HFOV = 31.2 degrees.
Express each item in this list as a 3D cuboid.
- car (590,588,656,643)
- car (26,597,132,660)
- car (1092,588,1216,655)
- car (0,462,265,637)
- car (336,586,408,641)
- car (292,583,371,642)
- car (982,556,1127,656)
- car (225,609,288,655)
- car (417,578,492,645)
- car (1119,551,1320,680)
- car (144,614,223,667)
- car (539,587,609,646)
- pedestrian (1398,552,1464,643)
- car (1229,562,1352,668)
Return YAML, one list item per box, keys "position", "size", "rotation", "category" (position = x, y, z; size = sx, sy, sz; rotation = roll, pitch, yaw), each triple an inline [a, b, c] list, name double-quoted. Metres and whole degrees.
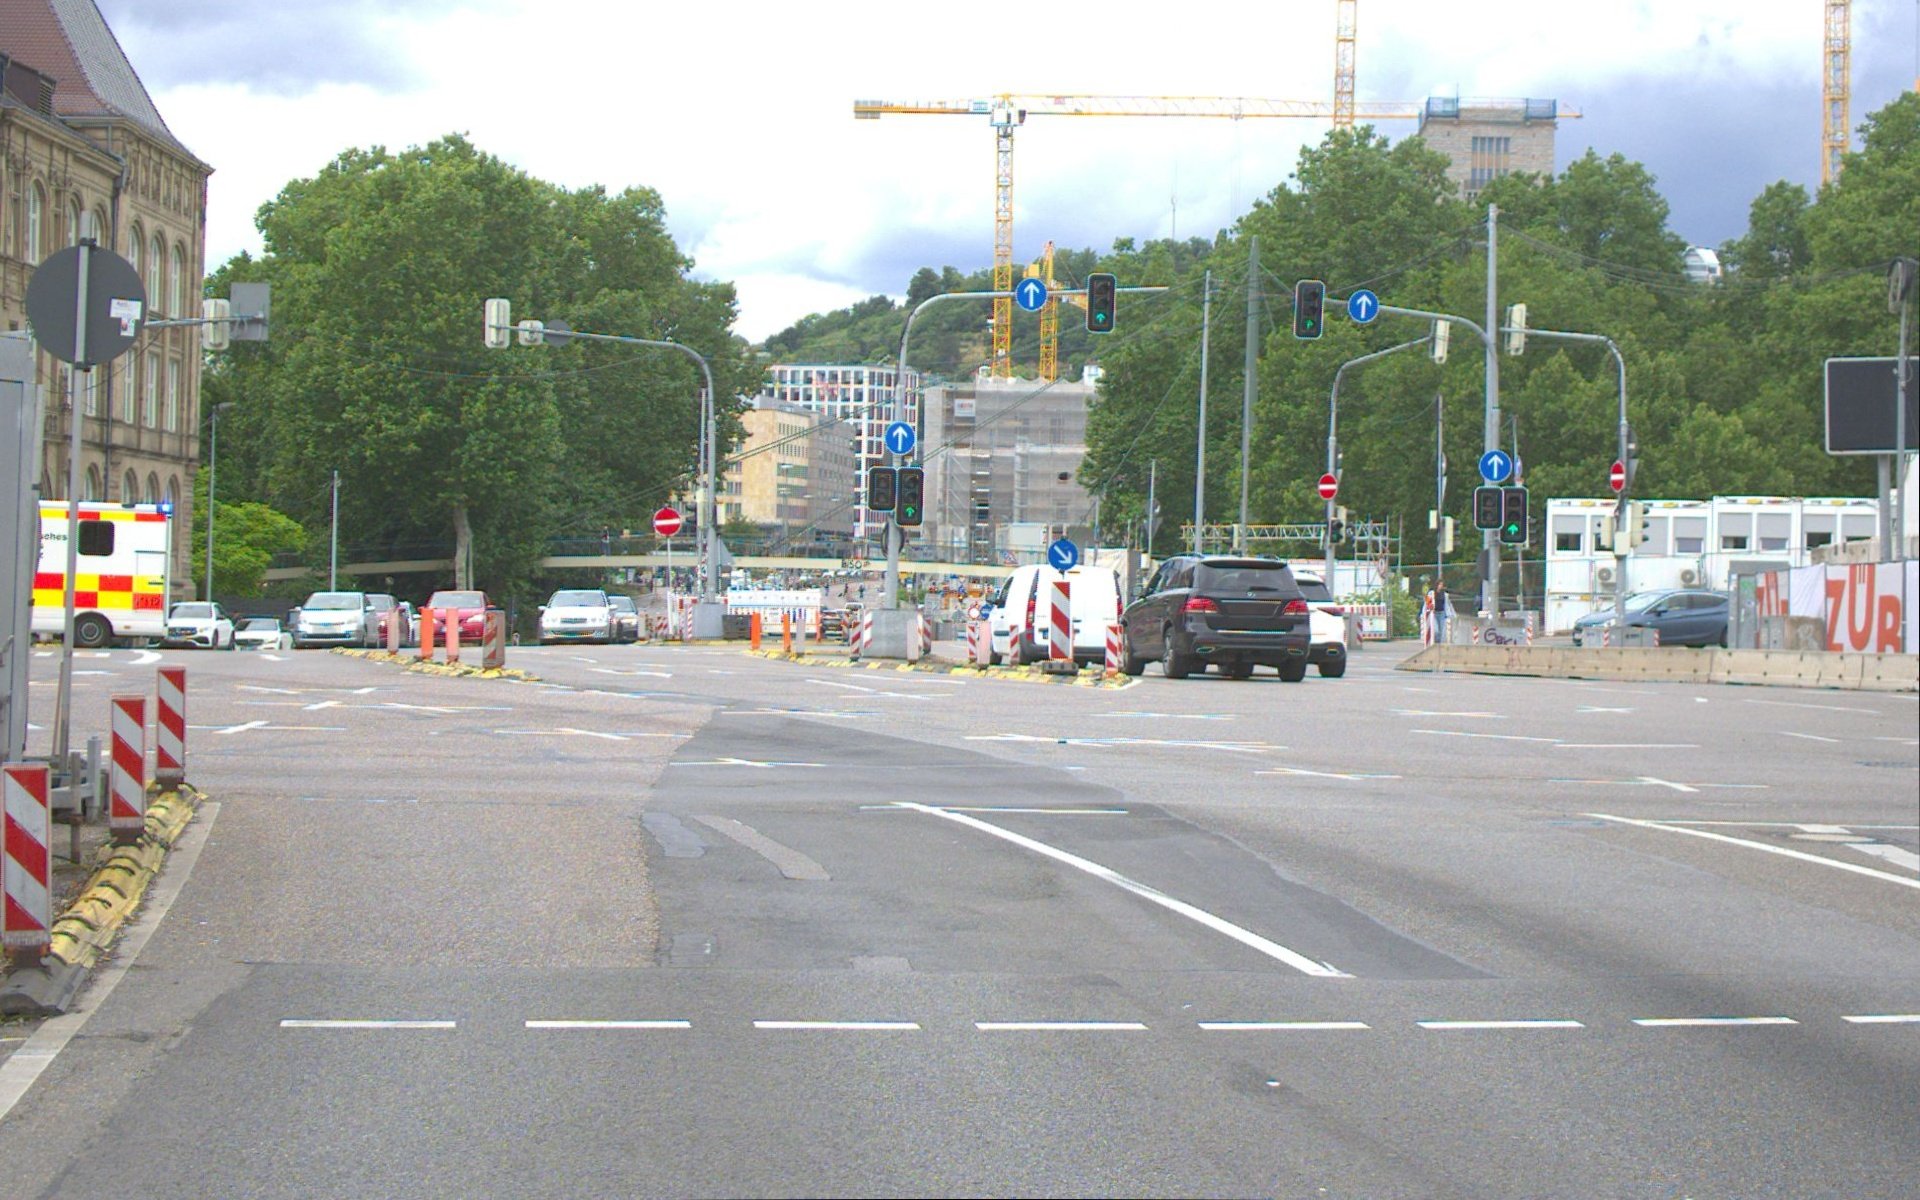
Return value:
- position: [-9.038, 0.407, 92.015]
  size: [1.675, 1.393, 3.684]
  rotation: [1, 1, -7]
  category: "car"
- position: [-20.718, 0.658, 80.995]
  size: [1.676, 1.393, 3.683]
  rotation: [1, 1, -2]
  category: "car"
- position: [4.257, 0.462, 75.916]
  size: [1.675, 1.393, 3.087]
  rotation: [1, 1, -19]
  category: "car"
- position: [-16.063, -0.905, 61.787]
  size: [6.735, 3.041, 2.373]
  rotation: [1, 0, -18]
  category: "car"
- position: [-15.679, 0.343, 91.732]
  size: [1.675, 1.393, 3.684]
  rotation: [1, 1, -7]
  category: "car"
- position: [-15.633, 0.302, 85.644]
  size: [1.675, 1.393, 3.684]
  rotation: [1, 1, -7]
  category: "car"
- position: [1.564, 0.076, 58.449]
  size: [1.816, 1.619, 4.001]
  rotation: [1, 1, -8]
  category: "car"
- position: [-22.745, 1.009, 111.270]
  size: [1.675, 1.393, 3.684]
  rotation: [1, 1, -7]
  category: "car"
- position: [-12.439, 0.265, 84.734]
  size: [1.675, 1.575, 3.684]
  rotation: [1, 1, -7]
  category: "car"
- position: [3.623, 0.189, 48.770]
  size: [1.831, 1.740, 4.257]
  rotation: [1, 1, -10]
  category: "car"
- position: [-22.050, 1.143, 97.727]
  size: [1.675, 1.393, 3.684]
  rotation: [1, 1, -5]
  category: "car"
- position: [-9.549, 0.393, 85.057]
  size: [1.675, 1.393, 3.684]
  rotation: [1, 1, -7]
  category: "car"
- position: [10.488, -0.065, 76.565]
  size: [1.094, 2.007, 1.185]
  rotation: [1, 0, -12]
  category: "pedestrian"
- position: [5.499, 0.229, 57.490]
  size: [1.676, 1.696, 3.374]
  rotation: [1, 1, -1]
  category: "car"
